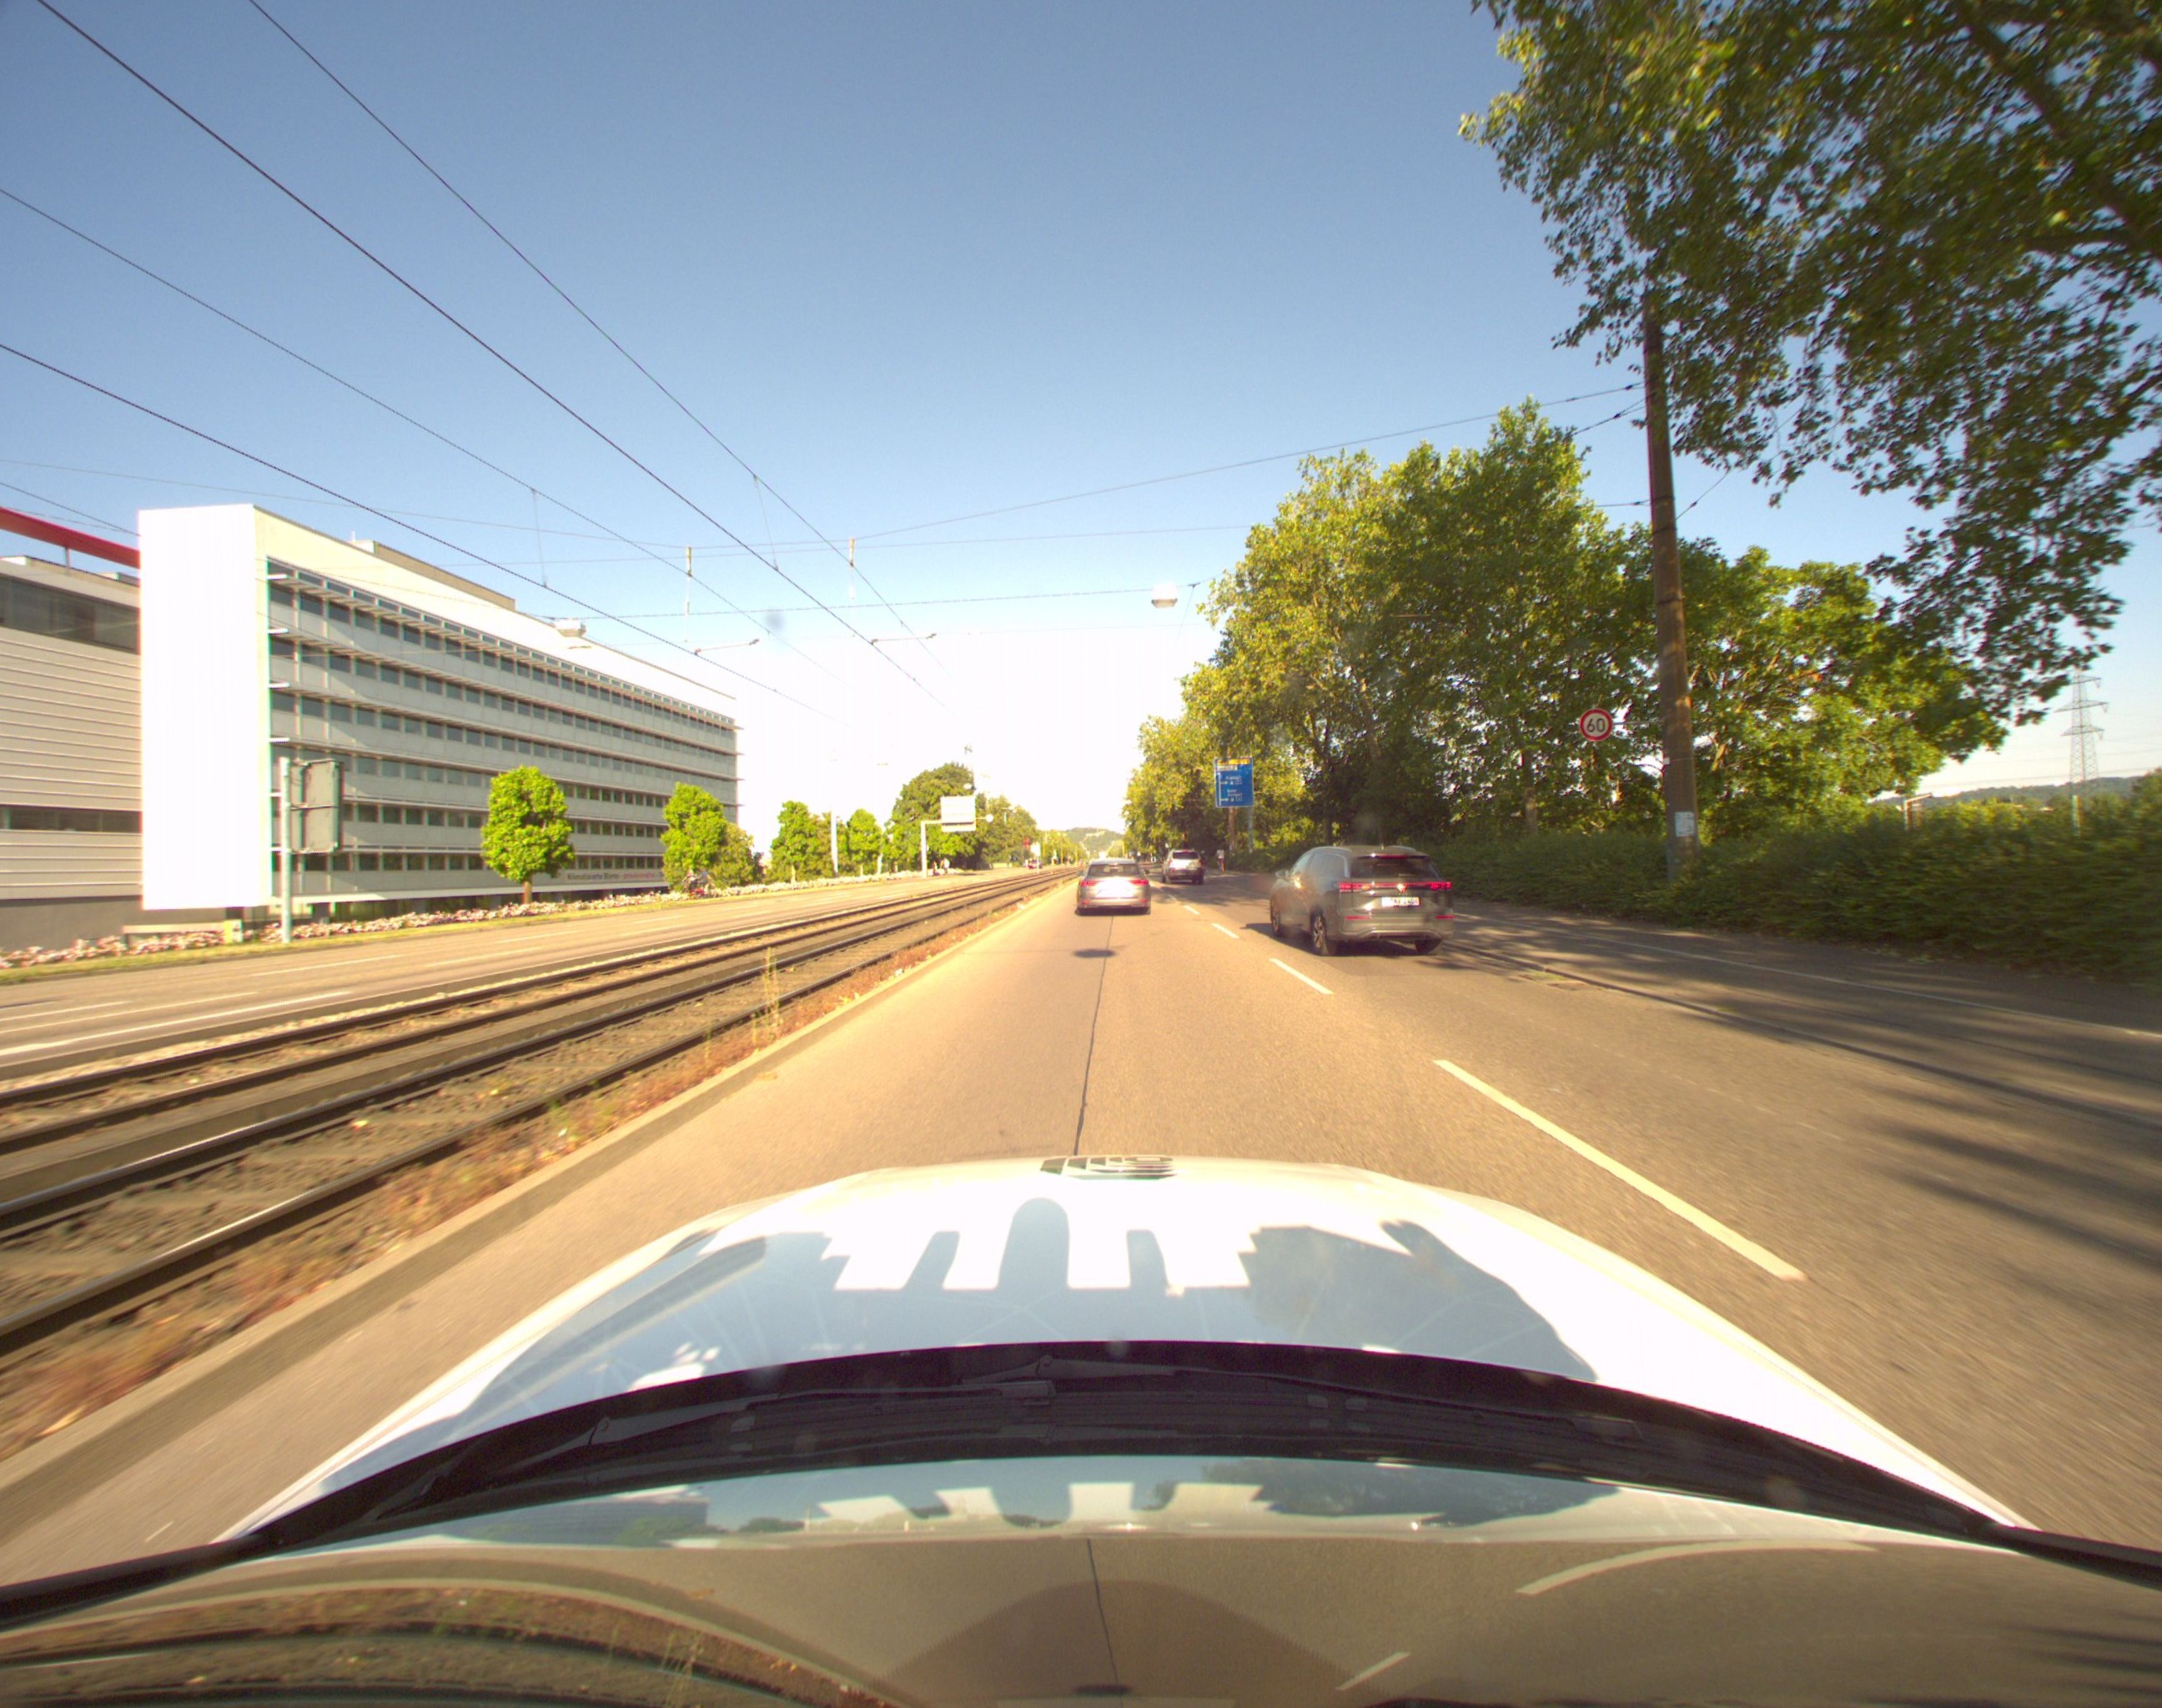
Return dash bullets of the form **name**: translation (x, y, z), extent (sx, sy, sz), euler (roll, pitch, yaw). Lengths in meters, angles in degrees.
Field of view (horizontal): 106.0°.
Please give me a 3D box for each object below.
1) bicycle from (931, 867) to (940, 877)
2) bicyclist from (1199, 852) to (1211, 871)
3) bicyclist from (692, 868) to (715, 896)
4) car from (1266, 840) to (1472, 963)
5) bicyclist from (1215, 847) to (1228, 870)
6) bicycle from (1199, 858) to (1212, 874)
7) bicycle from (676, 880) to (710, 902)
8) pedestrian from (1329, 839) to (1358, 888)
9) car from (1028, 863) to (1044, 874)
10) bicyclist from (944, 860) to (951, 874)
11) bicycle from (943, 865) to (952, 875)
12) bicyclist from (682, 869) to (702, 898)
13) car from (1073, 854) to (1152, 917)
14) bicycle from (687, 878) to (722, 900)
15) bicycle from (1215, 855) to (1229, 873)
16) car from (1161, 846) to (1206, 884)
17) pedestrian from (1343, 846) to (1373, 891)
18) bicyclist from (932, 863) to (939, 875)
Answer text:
- **bicycle**: translation (-16.321, 2.035, 91.361), extent (0.622, 1.059, 1.704), euler (0, 0, 3)
- **bicyclist**: translation (8.206, 0.499, 53.842), extent (0.638, 1.226, 0.891), euler (-3, 0, 2)
- **bicyclist**: translation (-20.587, 1.506, 44.387), extent (0.701, 1.512, 0.973), euler (0, 0, 9)
- **car**: translation (4.417, 0.645, 13.288), extent (1.838, 1.661, 4.440), euler (0, 0, 0)
- **bicyclist**: translation (9.272, 0.283, 53.781), extent (0.683, 1.509, 0.891), euler (-1, 0, 2)
- **bicycle**: translation (8.219, 0.794, 53.841), extent (0.563, 0.974, 1.789), euler (-3, 0, 2)
- **bicycle**: translation (-22.306, 2.096, 46.885), extent (0.657, 1.151, 2.028), euler (0, 0, 12)
- **pedestrian**: translation (9.555, 0.342, 29.657), extent (0.719, 1.707, 0.813), euler (-3, -1, 2)
- **car**: translation (-7.050, 2.252, 128.896), extent (2.031, 1.503, 4.891), euler (-2, 0, 3)
- **bicyclist**: translation (-15.865, 1.513, 96.825), extent (0.599, 1.659, 0.964), euler (0, 0, 5)
- **bicycle**: translation (-15.874, 1.873, 96.793), extent (0.599, 1.219, 1.751), euler (0, 0, 6)
- **bicyclist**: translation (-22.329, 1.678, 46.761), extent (0.657, 1.623, 0.804), euler (0, 0, 12)
- **car**: translation (0.878, 0.746, 21.857), extent (1.858, 1.467, 4.669), euler (-1, 0, 3)
- **bicycle**: translation (-20.565, 1.905, 44.546), extent (0.700, 1.073, 2.032), euler (0, 0, 9)
- **bicycle**: translation (9.296, 0.674, 53.758), extent (0.620, 1.120, 1.814), euler (-3, 0, 2)
- **car**: translation (5.116, 0.511, 41.050), extent (1.876, 1.796, 4.002), euler (0, 0, 2)
- **pedestrian**: translation (9.481, 0.481, 27.915), extent (0.720, 1.480, 0.722), euler (-3, -1, 2)
- **bicyclist**: translation (-16.317, 1.650, 91.346), extent (0.622, 1.374, 0.880), euler (0, 0, 2)
